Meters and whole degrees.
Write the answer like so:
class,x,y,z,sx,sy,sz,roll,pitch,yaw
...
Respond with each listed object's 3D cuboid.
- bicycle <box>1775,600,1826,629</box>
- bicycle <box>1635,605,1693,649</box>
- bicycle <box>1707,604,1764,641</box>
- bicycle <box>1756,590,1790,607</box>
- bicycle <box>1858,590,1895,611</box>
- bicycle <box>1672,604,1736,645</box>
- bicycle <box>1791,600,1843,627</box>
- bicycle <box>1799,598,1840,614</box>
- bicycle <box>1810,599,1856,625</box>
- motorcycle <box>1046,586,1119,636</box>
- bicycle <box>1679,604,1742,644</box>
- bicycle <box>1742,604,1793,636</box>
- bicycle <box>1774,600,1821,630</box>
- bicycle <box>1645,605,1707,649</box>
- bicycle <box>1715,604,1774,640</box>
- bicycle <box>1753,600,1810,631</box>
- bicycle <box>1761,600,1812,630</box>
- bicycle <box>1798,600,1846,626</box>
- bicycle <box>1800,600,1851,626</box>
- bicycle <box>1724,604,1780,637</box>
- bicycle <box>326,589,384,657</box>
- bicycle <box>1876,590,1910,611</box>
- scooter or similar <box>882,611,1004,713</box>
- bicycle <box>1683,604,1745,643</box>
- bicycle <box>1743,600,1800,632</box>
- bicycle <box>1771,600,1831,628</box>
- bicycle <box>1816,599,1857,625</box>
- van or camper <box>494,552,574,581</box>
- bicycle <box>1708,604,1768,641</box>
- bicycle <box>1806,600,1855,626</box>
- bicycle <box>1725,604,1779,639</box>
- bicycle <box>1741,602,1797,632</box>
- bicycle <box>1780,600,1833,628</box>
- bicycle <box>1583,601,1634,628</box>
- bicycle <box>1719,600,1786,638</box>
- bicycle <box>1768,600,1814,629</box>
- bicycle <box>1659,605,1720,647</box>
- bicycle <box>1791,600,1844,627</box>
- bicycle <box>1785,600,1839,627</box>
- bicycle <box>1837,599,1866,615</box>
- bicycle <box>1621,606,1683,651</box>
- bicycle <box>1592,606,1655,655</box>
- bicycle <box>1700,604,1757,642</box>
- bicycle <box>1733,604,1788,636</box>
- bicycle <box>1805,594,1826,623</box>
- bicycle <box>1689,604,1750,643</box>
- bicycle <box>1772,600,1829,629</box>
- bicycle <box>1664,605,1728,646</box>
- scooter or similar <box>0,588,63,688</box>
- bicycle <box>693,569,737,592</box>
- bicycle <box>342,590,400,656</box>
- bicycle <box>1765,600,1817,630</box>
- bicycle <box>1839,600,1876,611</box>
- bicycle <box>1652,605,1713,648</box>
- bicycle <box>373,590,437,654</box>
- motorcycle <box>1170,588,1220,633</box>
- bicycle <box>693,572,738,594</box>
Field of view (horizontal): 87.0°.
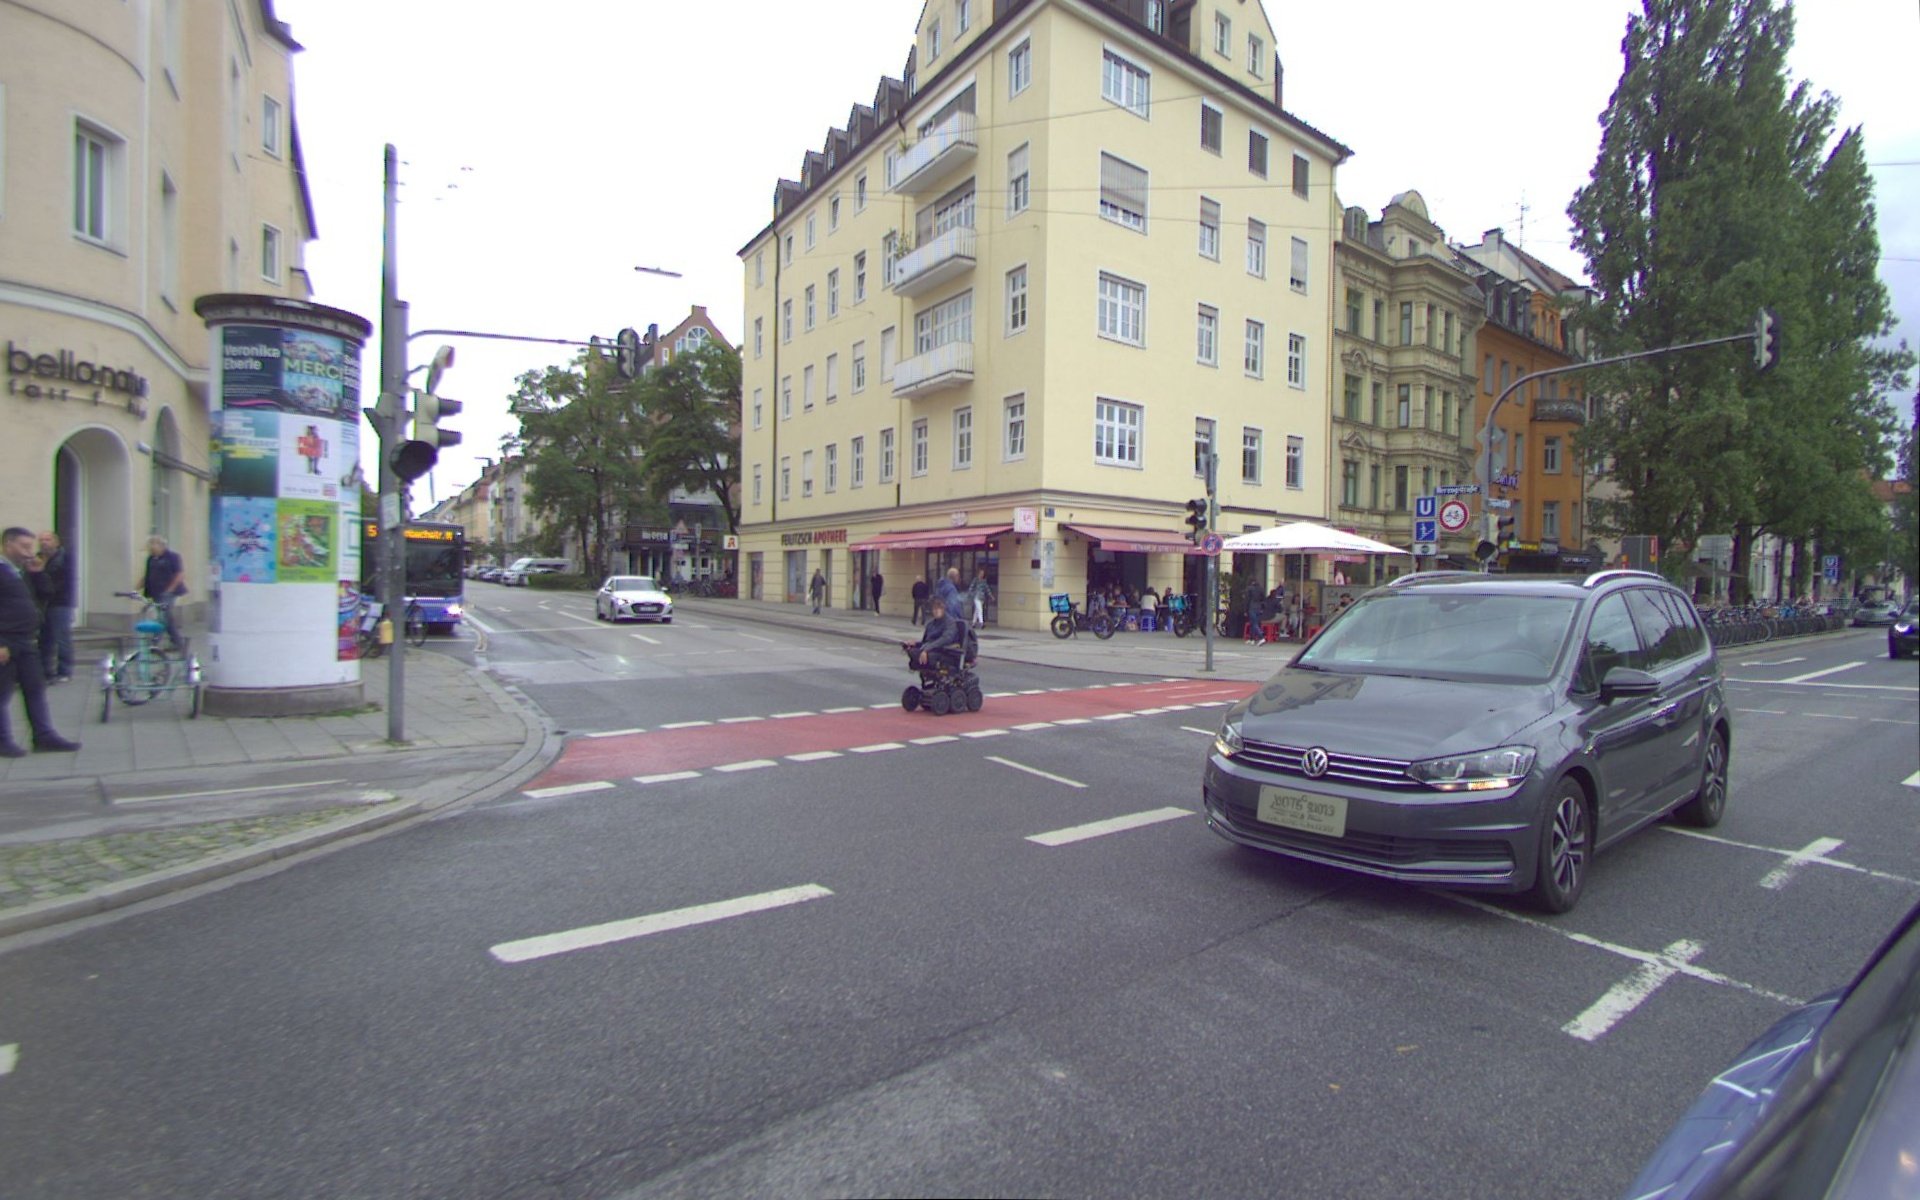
class,x,y,z,sx,sy,sz,roll,pitch,yaw
bicycle,30.335,0.509,36.548,0.319,1.008,1.841,1,0,2
bicycle,18.141,0.681,26.114,0.342,1.008,1.840,1,2,5
bicycle,23.288,0.661,30.430,0.341,1.008,1.841,1,2,3
bicycle,55.686,-0.093,69.333,1.855,1.169,0.464,0,1,8
bicycle,51.616,0.000,57.014,0.352,1.116,1.747,1,1,-6
bicycle,20.664,0.670,28.154,0.341,1.008,1.843,1,2,-1
bicycle,33.263,0.498,39.300,0.368,1.008,1.843,1,0,-3
bicycle,51.335,0.350,60.480,0.385,0.928,1.838,0,1,-38
bicycle,35.375,0.490,41.049,0.368,1.008,1.840,1,0,4
motorcycle,3.074,0.263,25.470,1.745,1.215,0.538,1,1,20
bicycle,21.171,0.668,28.579,0.341,1.008,1.843,1,2,-1
bicycle,26.823,0.647,33.635,0.319,1.008,1.840,1,0,4
bicycle,29.628,0.511,35.822,0.319,1.008,1.839,1,0,6
bicycle,18.635,0.678,26.393,0.341,1.008,1.841,1,2,2
bicycle,24.263,0.658,31.338,0.341,1.008,1.843,1,2,-1
bicycle,28.194,0.518,34.772,0.319,1.008,1.843,1,0,-4
bicycle,28.734,0.515,35.216,0.319,1.008,1.841,1,0,2
bicycle,33.836,0.496,39.745,0.368,1.008,1.840,1,0,3
bicycle,34.301,0.494,40.143,0.368,1.008,1.843,1,0,-2
bicycle,25.768,0.652,32.953,0.319,1.008,1.842,1,0,-1
bicycle,-10.161,0.368,16.981,1.574,1.046,0.245,2,1,36
bicycle,52.483,-0.004,56.952,0.353,1.116,1.743,1,1,5
scooter or similar,-0.197,0.701,11.983,1.235,1.088,0.776,0,2,-42
bicycle,21.707,0.666,29.174,0.341,1.008,1.843,1,2,-1
bicycle,27.166,0.522,33.901,0.319,1.008,1.843,1,0,-4
bicycle,31.651,0.501,38.115,0.367,1.008,1.846,2,0,-16
bicycle,35.906,0.487,41.478,0.369,1.008,1.836,1,0,10
van or camper,-35.576,-2.802,84.690,1.985,2.306,6.065,2,2,32
bicycle,23.754,0.660,30.928,0.341,1.008,1.843,1,2,-1
bicycle,34.845,0.492,40.536,0.368,1.008,1.841,1,0,1
bicycle,24.864,0.655,31.804,0.319,1.008,1.841,1,2,4
bicycle,27.524,0.566,34.471,0.319,1.008,1.843,1,0,-4
bicycle,31.246,0.505,37.397,0.319,1.008,1.843,1,0,-3
bicycle,26.074,0.582,40.712,0.379,1.059,1.730,2,0,-29
bicycle,25.304,0.583,32.355,0.457,1.126,1.845,2,1,-8
bicycle,29.945,0.511,36.498,0.319,1.008,1.838,1,0,7
bicycle,19.652,0.674,27.294,0.341,1.008,1.841,1,2,2
bicycle,32.862,0.499,38.805,0.368,1.008,1.843,1,0,-3
bicycle,32.271,0.502,38.367,0.368,1.008,1.843,1,0,-3
bicycle,58.428,0.445,66.313,1.801,1.036,0.447,0,1,-14
bicycle,17.100,0.684,25.051,0.342,1.008,1.841,1,2,4
bicycle,15.466,0.689,23.634,0.342,1.008,1.841,1,2,4
bicycle,22.738,0.664,29.988,0.341,1.008,1.841,1,2,3
bicycle,26.268,0.650,33.237,0.319,1.008,1.842,1,0,-1
bicycle,39.830,0.388,47.109,1.747,1.304,0.424,0,1,-40
bicycle,22.191,0.664,29.599,0.341,1.008,1.843,1,2,-1
bicycle,30.755,0.507,37.044,0.318,1.008,1.845,2,0,-8
bicycle,20.158,0.672,27.741,0.341,1.008,1.843,1,2,-1
scooter or similar,-10.308,0.394,10.939,0.581,1.007,0.824,4,0,-18
bicycle,-13.896,-1.102,57.402,2.429,1.257,0.758,1,1,-14
bicycle,-10.025,0.368,17.208,1.574,1.046,0.245,2,1,36
bicycle,29.230,0.513,35.622,0.319,1.008,1.841,1,0,2
bicycle,74.617,0.457,84.152,0.629,0.933,2.319,0,1,-43
bicycle,19.158,0.676,26.865,0.341,1.008,1.841,1,2,2
bicycle,-9.836,0.368,17.907,1.574,1.046,0.353,2,1,36
motorcycle,6.363,0.263,27.357,1.543,1.171,0.487,0,1,-40
bicycle,-13.626,-0.943,56.422,2.429,1.204,0.758,1,1,-14
